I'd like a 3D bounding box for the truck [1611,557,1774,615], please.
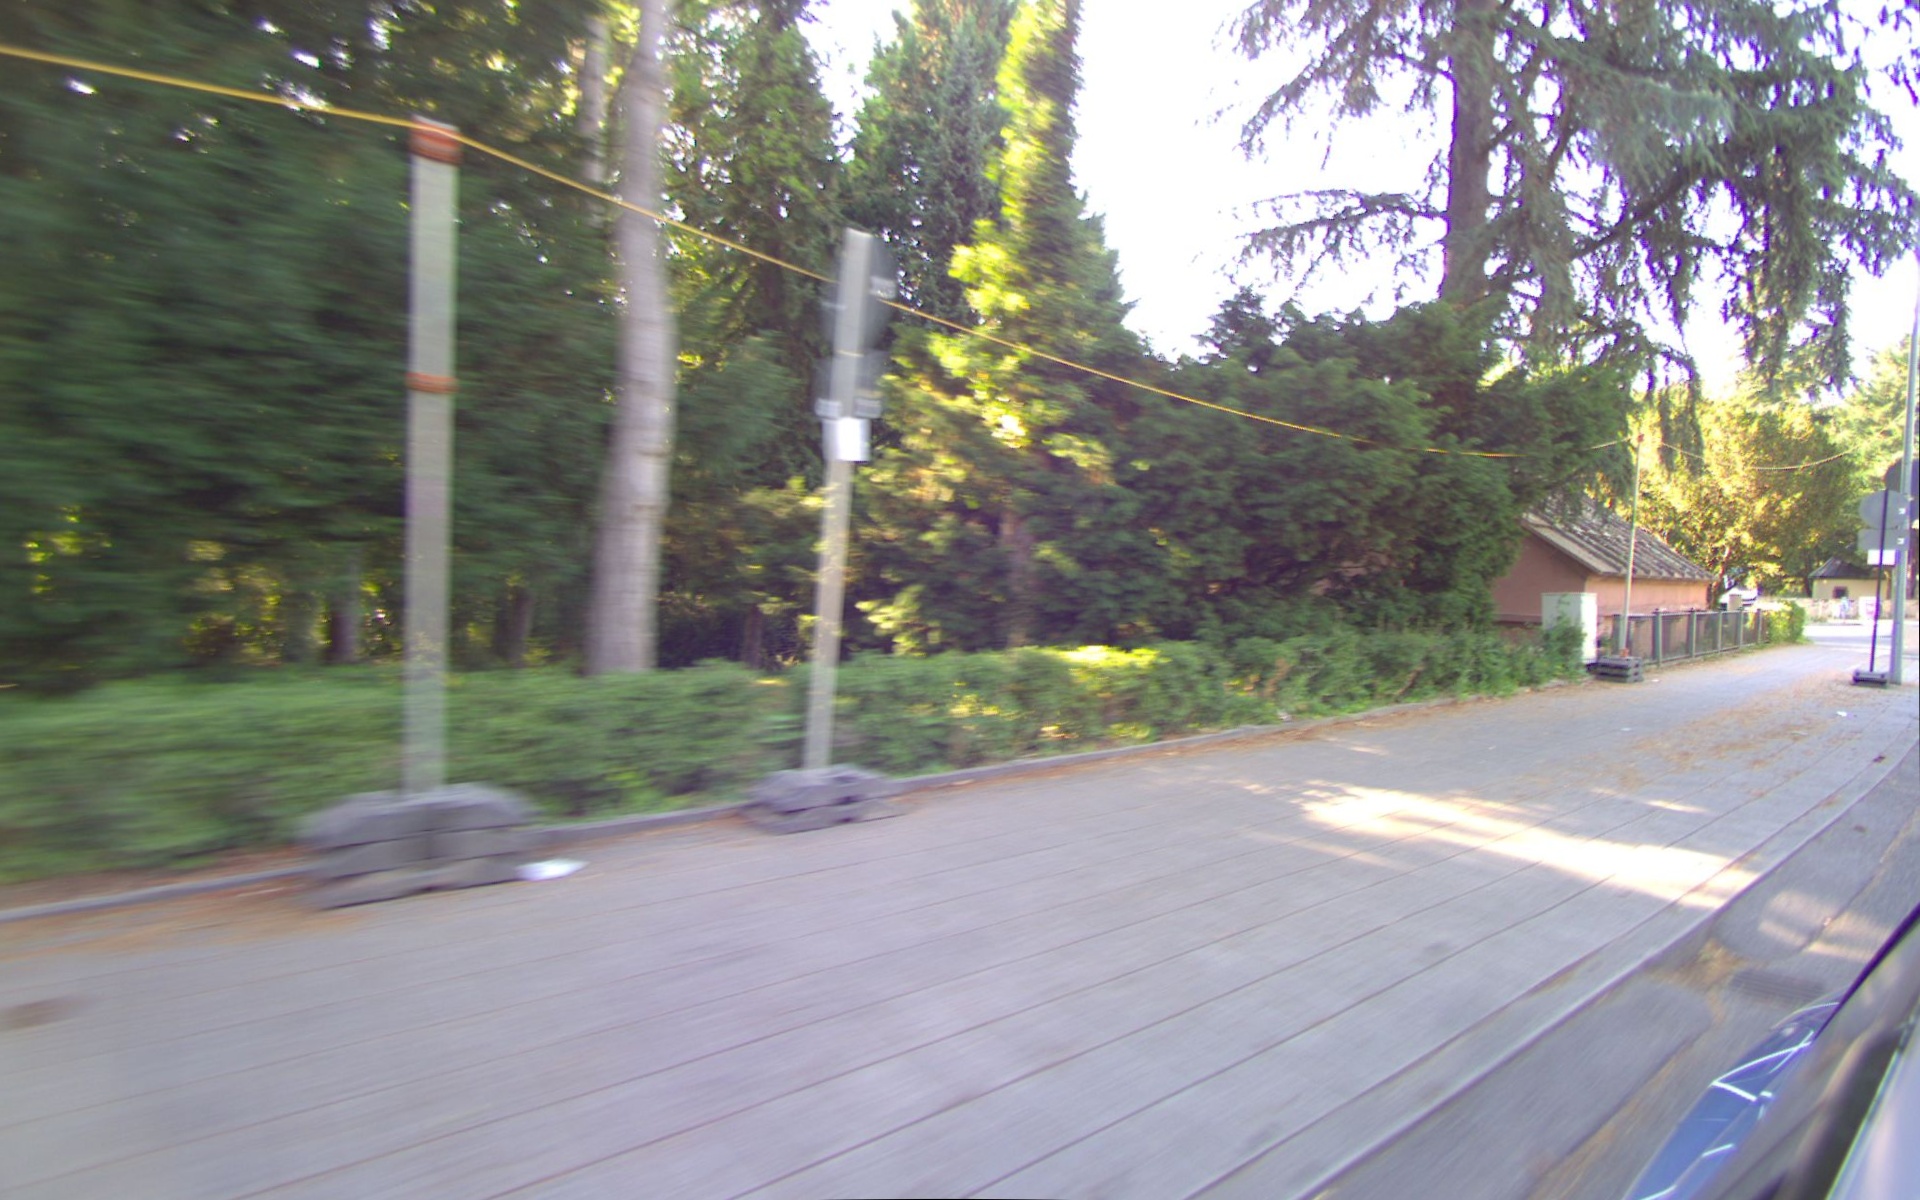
[{"bbox_3d":[37.455,-0.714,52.017,2.321,2.786,6.524,-1,0,-22],"label":"truck"}]
